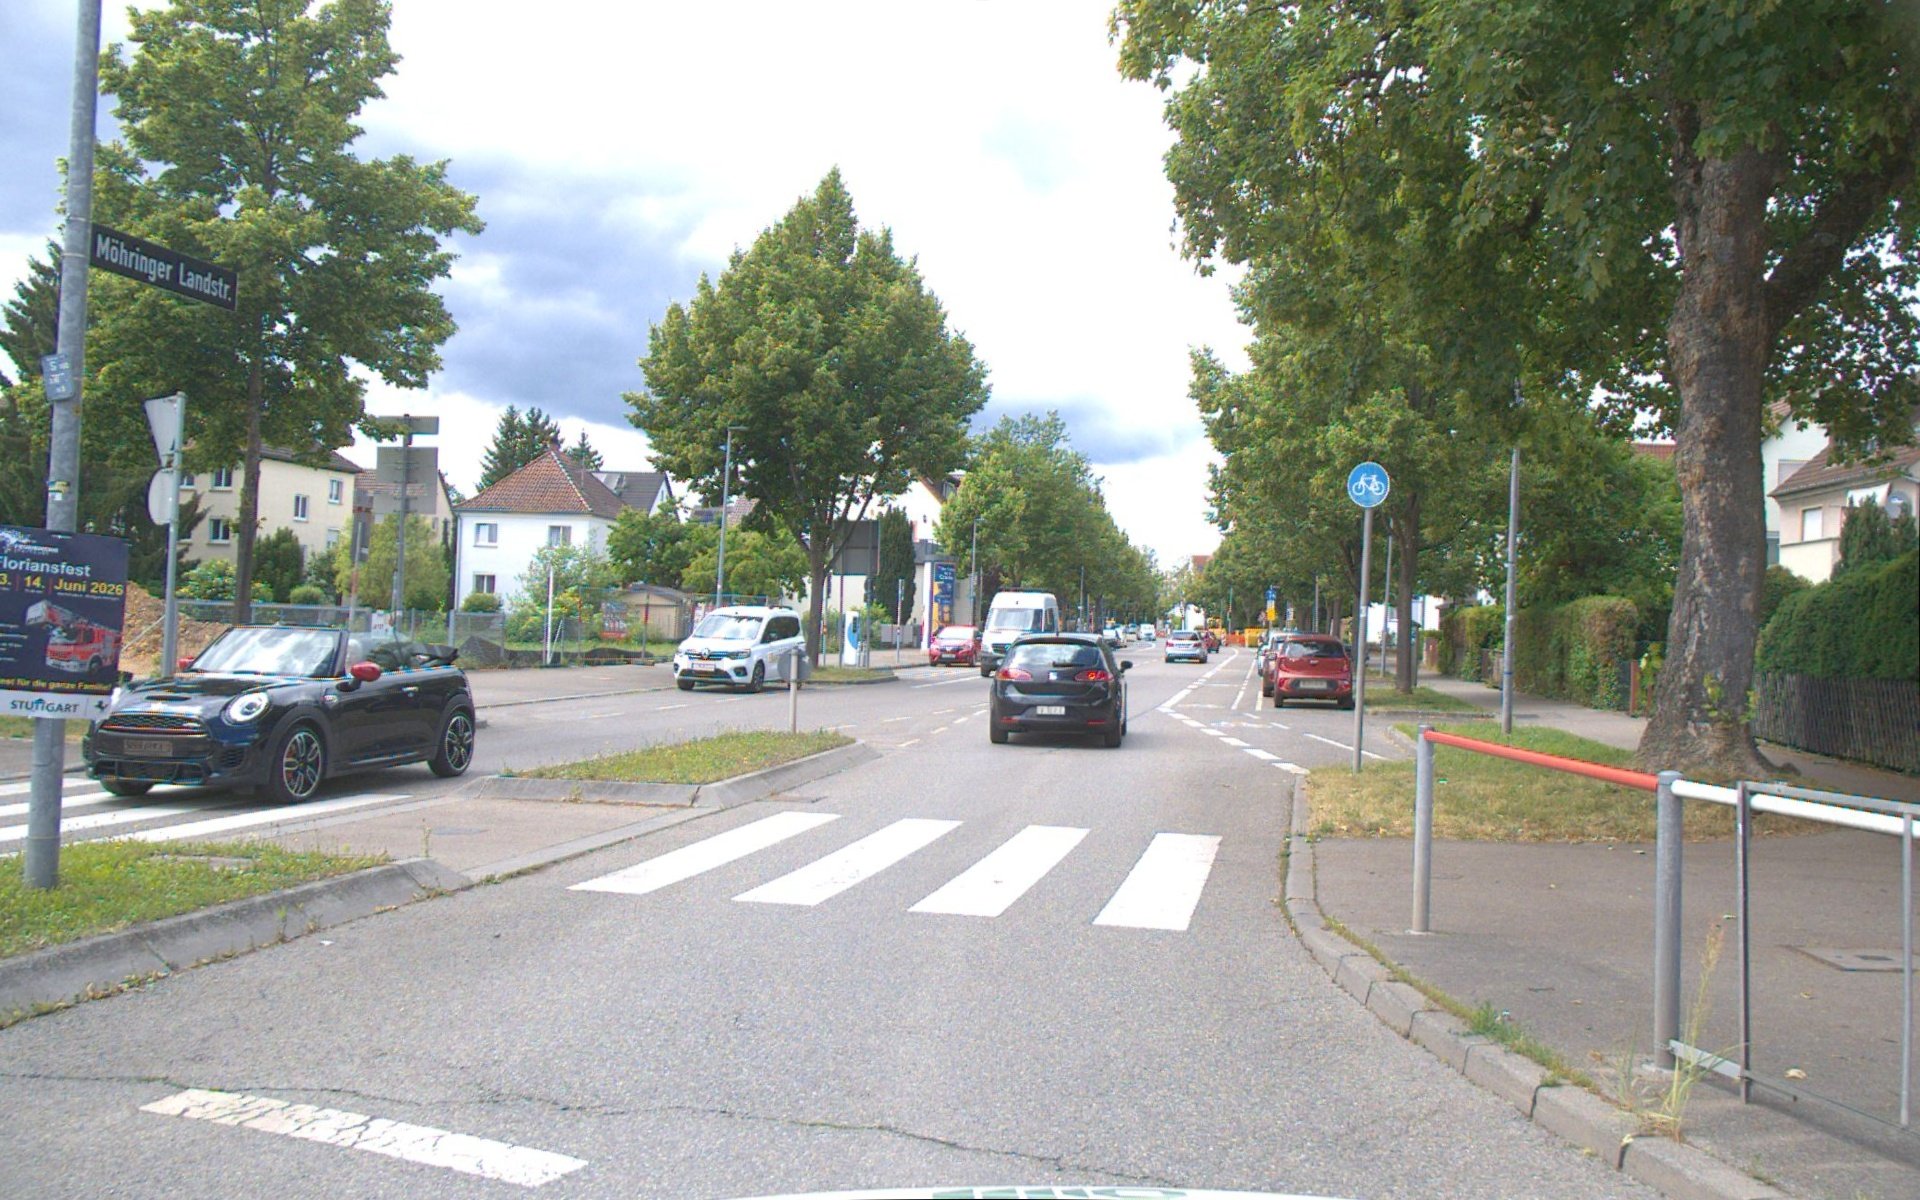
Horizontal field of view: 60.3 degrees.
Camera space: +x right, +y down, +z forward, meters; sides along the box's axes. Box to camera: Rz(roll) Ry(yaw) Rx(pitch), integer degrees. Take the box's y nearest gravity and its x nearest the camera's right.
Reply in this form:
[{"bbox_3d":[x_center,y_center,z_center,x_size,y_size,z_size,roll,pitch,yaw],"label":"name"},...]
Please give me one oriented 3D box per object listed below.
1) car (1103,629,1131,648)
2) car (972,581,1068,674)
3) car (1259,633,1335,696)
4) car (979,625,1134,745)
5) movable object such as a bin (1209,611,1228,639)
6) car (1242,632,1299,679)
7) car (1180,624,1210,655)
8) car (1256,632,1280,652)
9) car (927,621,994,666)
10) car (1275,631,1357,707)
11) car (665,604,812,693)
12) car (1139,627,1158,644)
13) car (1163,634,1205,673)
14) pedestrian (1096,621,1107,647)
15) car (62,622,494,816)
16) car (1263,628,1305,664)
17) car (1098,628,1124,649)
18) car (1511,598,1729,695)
[{"bbox_3d":[12.212,2.997,128.226,1.677,1.431,4.303,1,-1,12],"label":"car"},{"bbox_3d":[1.979,0.864,52.383,1.976,2.721,5.810,1,-1,12],"label":"car"},{"bbox_3d":[8.283,1.553,40.884,1.617,1.441,4.180,0,-1,9],"label":"car"},{"bbox_3d":[1.393,1.083,22.397,1.780,1.463,3.742,1,-1,8],"label":"car"},{"bbox_3d":[24.959,2.460,159.874,1.730,2.619,3.742,1,-1,8],"label":"movable object such as a bin"},{"bbox_3d":[10.733,1.886,57.465,1.767,1.501,4.815,1,-1,9],"label":"car"},{"bbox_3d":[15.667,2.623,110.208,1.867,1.915,4.003,2,-1,7],"label":"car"},{"bbox_3d":[23.723,3.208,127.522,1.669,1.480,4.620,1,-1,9],"label":"car"},{"bbox_3d":[0.050,1.616,62.199,1.649,1.568,4.135,1,-1,12],"label":"car"},{"bbox_3d":[7.483,1.446,34.982,1.532,1.481,3.671,1,-2,10],"label":"car"},{"bbox_3d":[-4.799,1.039,36.501,1.733,1.801,4.554,1,-1,12],"label":"car"},{"bbox_3d":[22.169,4.162,194.186,1.924,1.862,4.822,1,-1,10],"label":"car"},{"bbox_3d":[10.418,2.476,76.760,1.865,1.715,3.742,1,-1,8],"label":"car"},{"bbox_3d":[9.797,2.340,114.157,0.531,1.710,0.750,3,0,19],"label":"pedestrian"},{"bbox_3d":[-5.647,0.912,14.219,1.539,1.386,3.745,1,-1,12],"label":"car"},{"bbox_3d":[15.404,2.170,78.756,1.685,1.608,4.064,1,-1,8],"label":"car"},{"bbox_3d":[11.075,2.821,121.450,1.608,1.445,4.023,1,-1,9],"label":"car"},{"bbox_3d":[19.323,1.331,48.626,5.592,2.637,1.999,1,0,6],"label":"car"}]
